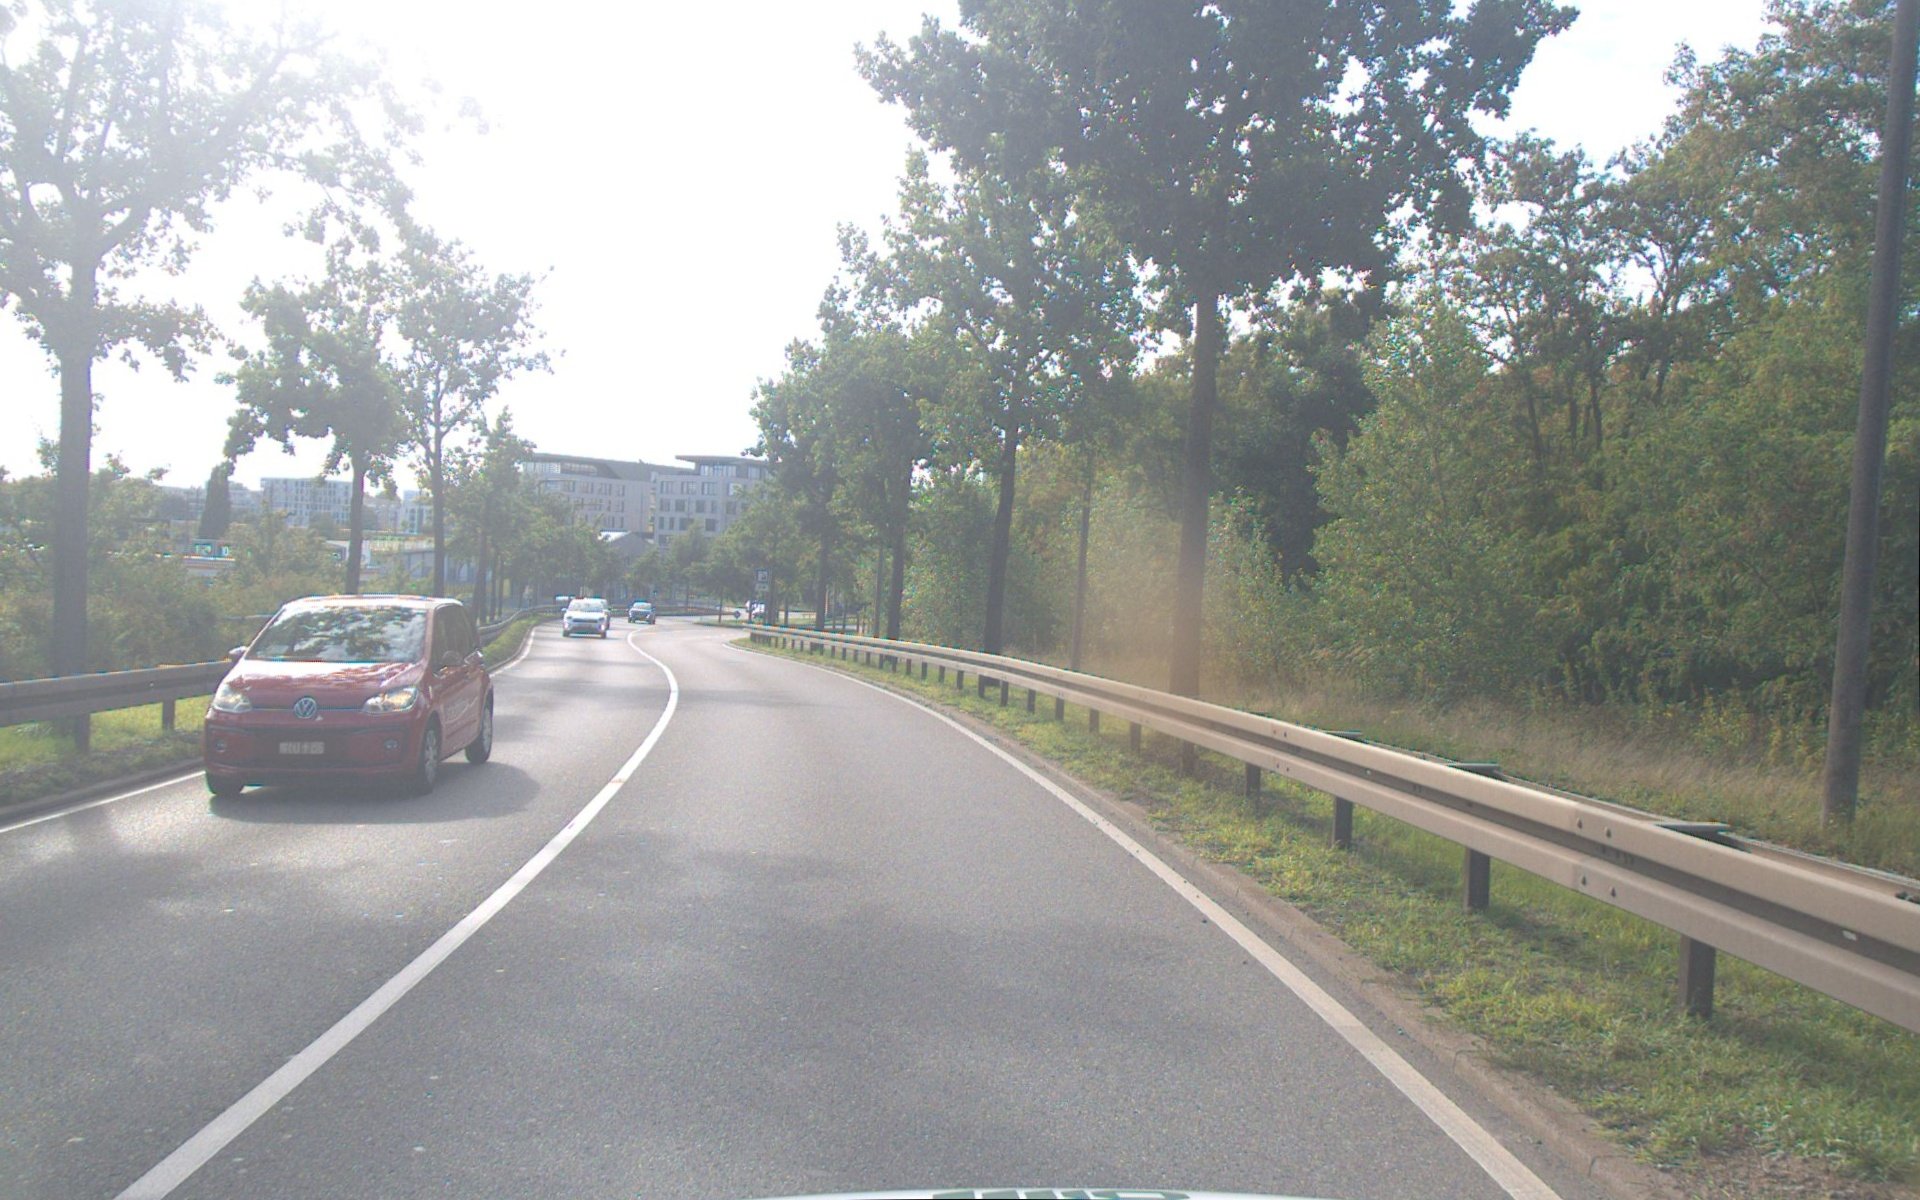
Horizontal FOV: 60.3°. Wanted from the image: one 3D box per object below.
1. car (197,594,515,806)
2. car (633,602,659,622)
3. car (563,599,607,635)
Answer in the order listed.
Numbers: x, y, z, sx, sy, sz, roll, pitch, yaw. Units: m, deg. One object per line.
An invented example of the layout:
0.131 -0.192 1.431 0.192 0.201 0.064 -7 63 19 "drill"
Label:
-4.769 0.708 13.545 1.537 1.450 3.587 1 1 -5 "car"
-24.046 0.891 126.629 1.537 1.450 3.587 1 0 -5 "car"
-15.839 0.695 69.985 1.538 1.450 3.583 1 0 -9 "car"
